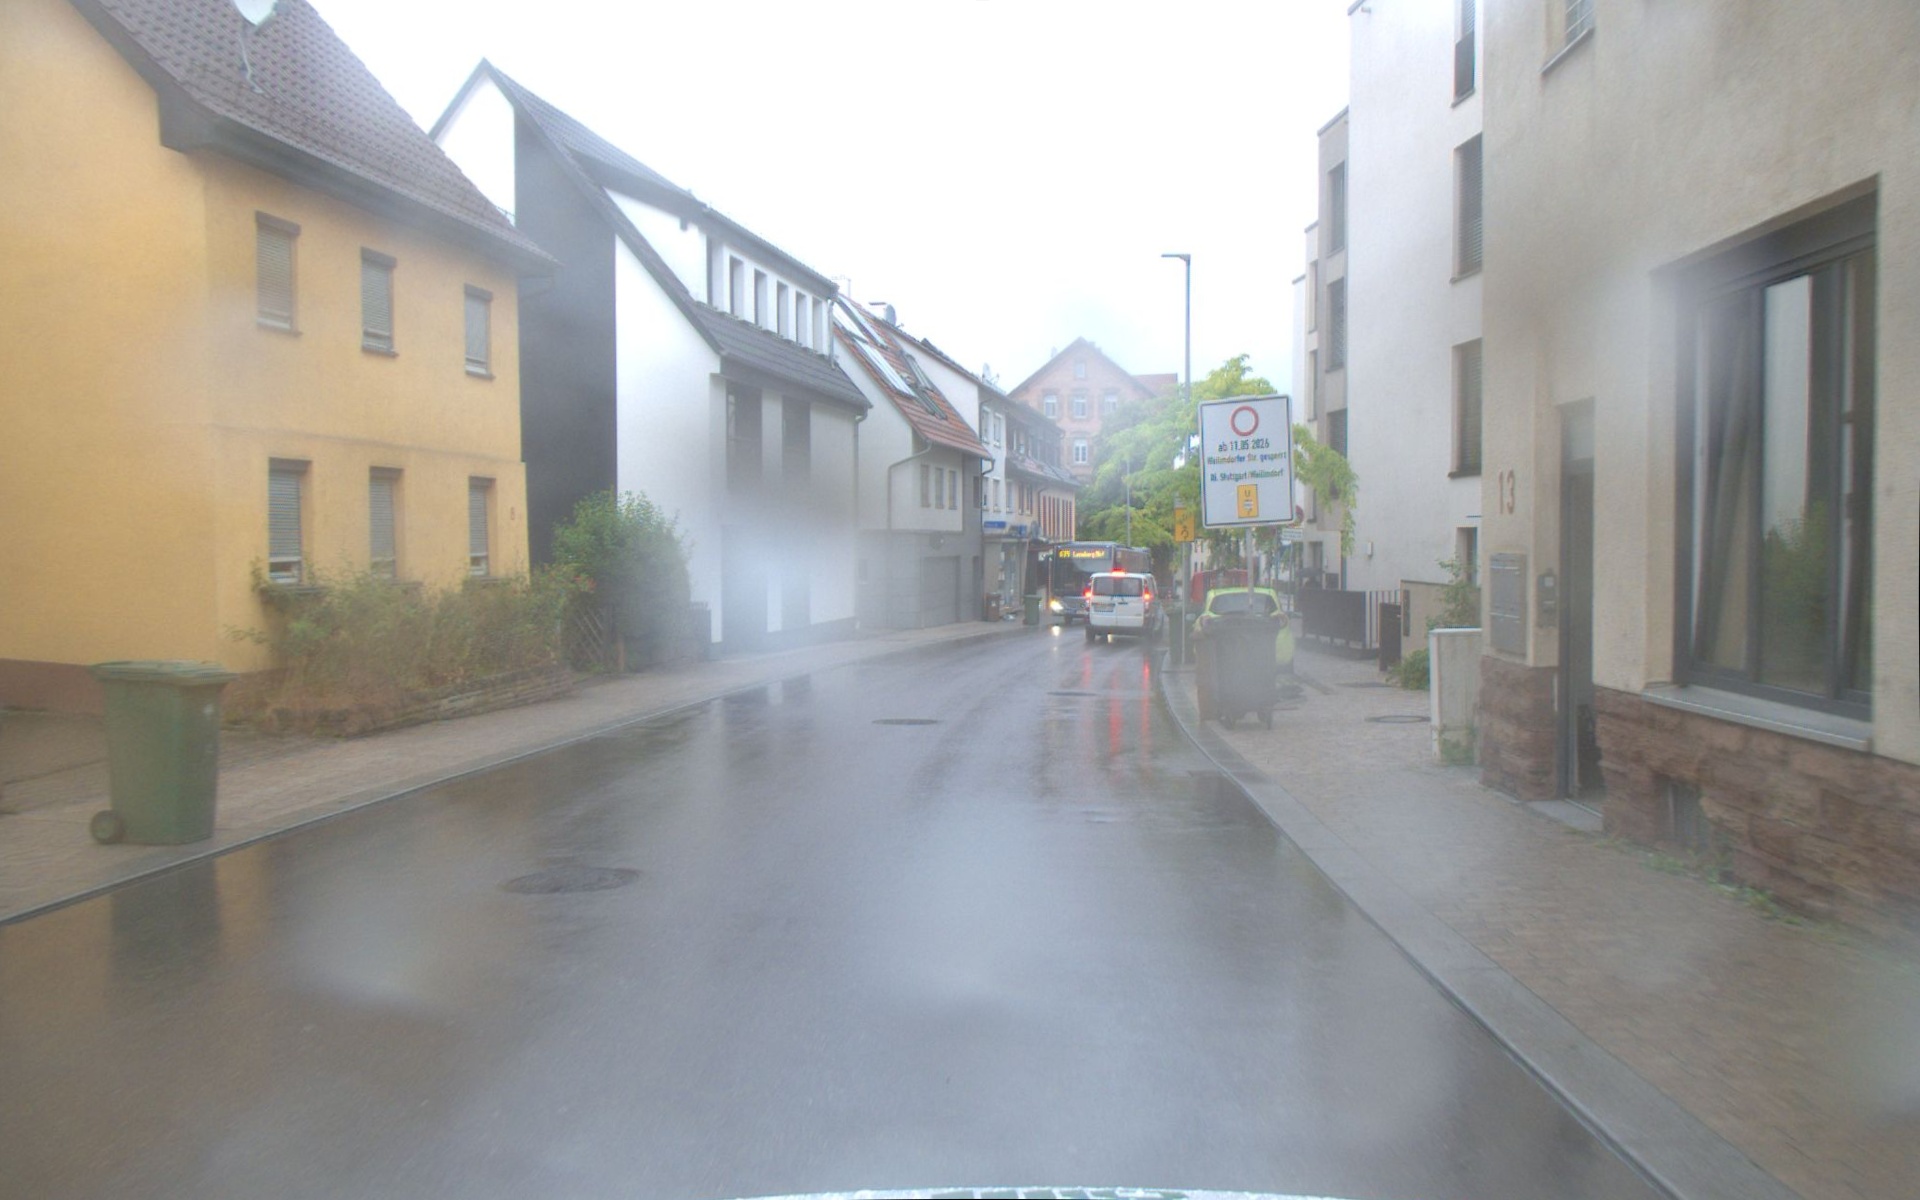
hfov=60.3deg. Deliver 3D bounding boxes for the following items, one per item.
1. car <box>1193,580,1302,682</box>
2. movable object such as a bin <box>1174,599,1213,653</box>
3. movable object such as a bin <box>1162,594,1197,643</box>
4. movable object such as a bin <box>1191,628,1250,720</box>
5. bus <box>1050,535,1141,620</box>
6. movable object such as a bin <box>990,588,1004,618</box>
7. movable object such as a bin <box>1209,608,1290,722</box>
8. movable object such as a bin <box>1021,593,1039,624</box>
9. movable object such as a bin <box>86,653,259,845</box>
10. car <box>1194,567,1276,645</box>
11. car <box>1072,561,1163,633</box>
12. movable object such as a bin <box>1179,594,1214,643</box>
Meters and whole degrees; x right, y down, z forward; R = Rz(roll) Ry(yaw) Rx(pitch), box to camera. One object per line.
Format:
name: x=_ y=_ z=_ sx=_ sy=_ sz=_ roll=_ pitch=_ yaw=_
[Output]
car: x=4.712 y=0.474 z=27.431 sx=1.569 sy=1.509 sz=3.304 roll=-3 pitch=1 yaw=7
movable object such as a bin: x=4.931 y=0.536 z=34.952 sx=0.793 sy=1.128 sz=0.987 roll=0 pitch=0 yaw=9
movable object such as a bin: x=5.495 y=0.458 z=41.357 sx=0.793 sy=1.206 sz=0.987 roll=0 pitch=0 yaw=12
movable object such as a bin: x=3.110 y=0.877 z=19.775 sx=0.691 sy=1.064 sz=0.518 roll=0 pitch=0 yaw=8
bus: x=5.608 y=-0.939 z=66.989 sx=2.681 sy=3.184 sz=9.242 roll=0 pitch=1 yaw=11
movable object such as a bin: x=1.415 y=0.114 z=62.629 sx=0.507 sy=1.142 sz=0.636 roll=0 pitch=0 yaw=3
movable object such as a bin: x=3.180 y=0.689 z=18.282 sx=0.751 sy=1.193 sz=1.542 roll=0 pitch=0 yaw=5
movable object such as a bin: x=2.593 y=0.322 z=61.155 sx=0.620 sy=1.142 sz=0.520 roll=0 pitch=0 yaw=7
movable object such as a bin: x=-4.782 y=0.887 z=10.084 sx=0.646 sy=1.074 sz=0.763 roll=2 pitch=0 yaw=1
car: x=6.680 y=0.130 z=39.922 sx=1.675 sy=1.793 sz=4.003 roll=0 pitch=0 yaw=13
car: x=4.462 y=-0.099 z=46.322 sx=2.148 sy=1.884 sz=4.308 roll=-1 pitch=0 yaw=10
movable object such as a bin: x=5.478 y=0.424 z=38.274 sx=0.793 sy=1.128 sz=0.987 roll=0 pitch=-1 yaw=9
